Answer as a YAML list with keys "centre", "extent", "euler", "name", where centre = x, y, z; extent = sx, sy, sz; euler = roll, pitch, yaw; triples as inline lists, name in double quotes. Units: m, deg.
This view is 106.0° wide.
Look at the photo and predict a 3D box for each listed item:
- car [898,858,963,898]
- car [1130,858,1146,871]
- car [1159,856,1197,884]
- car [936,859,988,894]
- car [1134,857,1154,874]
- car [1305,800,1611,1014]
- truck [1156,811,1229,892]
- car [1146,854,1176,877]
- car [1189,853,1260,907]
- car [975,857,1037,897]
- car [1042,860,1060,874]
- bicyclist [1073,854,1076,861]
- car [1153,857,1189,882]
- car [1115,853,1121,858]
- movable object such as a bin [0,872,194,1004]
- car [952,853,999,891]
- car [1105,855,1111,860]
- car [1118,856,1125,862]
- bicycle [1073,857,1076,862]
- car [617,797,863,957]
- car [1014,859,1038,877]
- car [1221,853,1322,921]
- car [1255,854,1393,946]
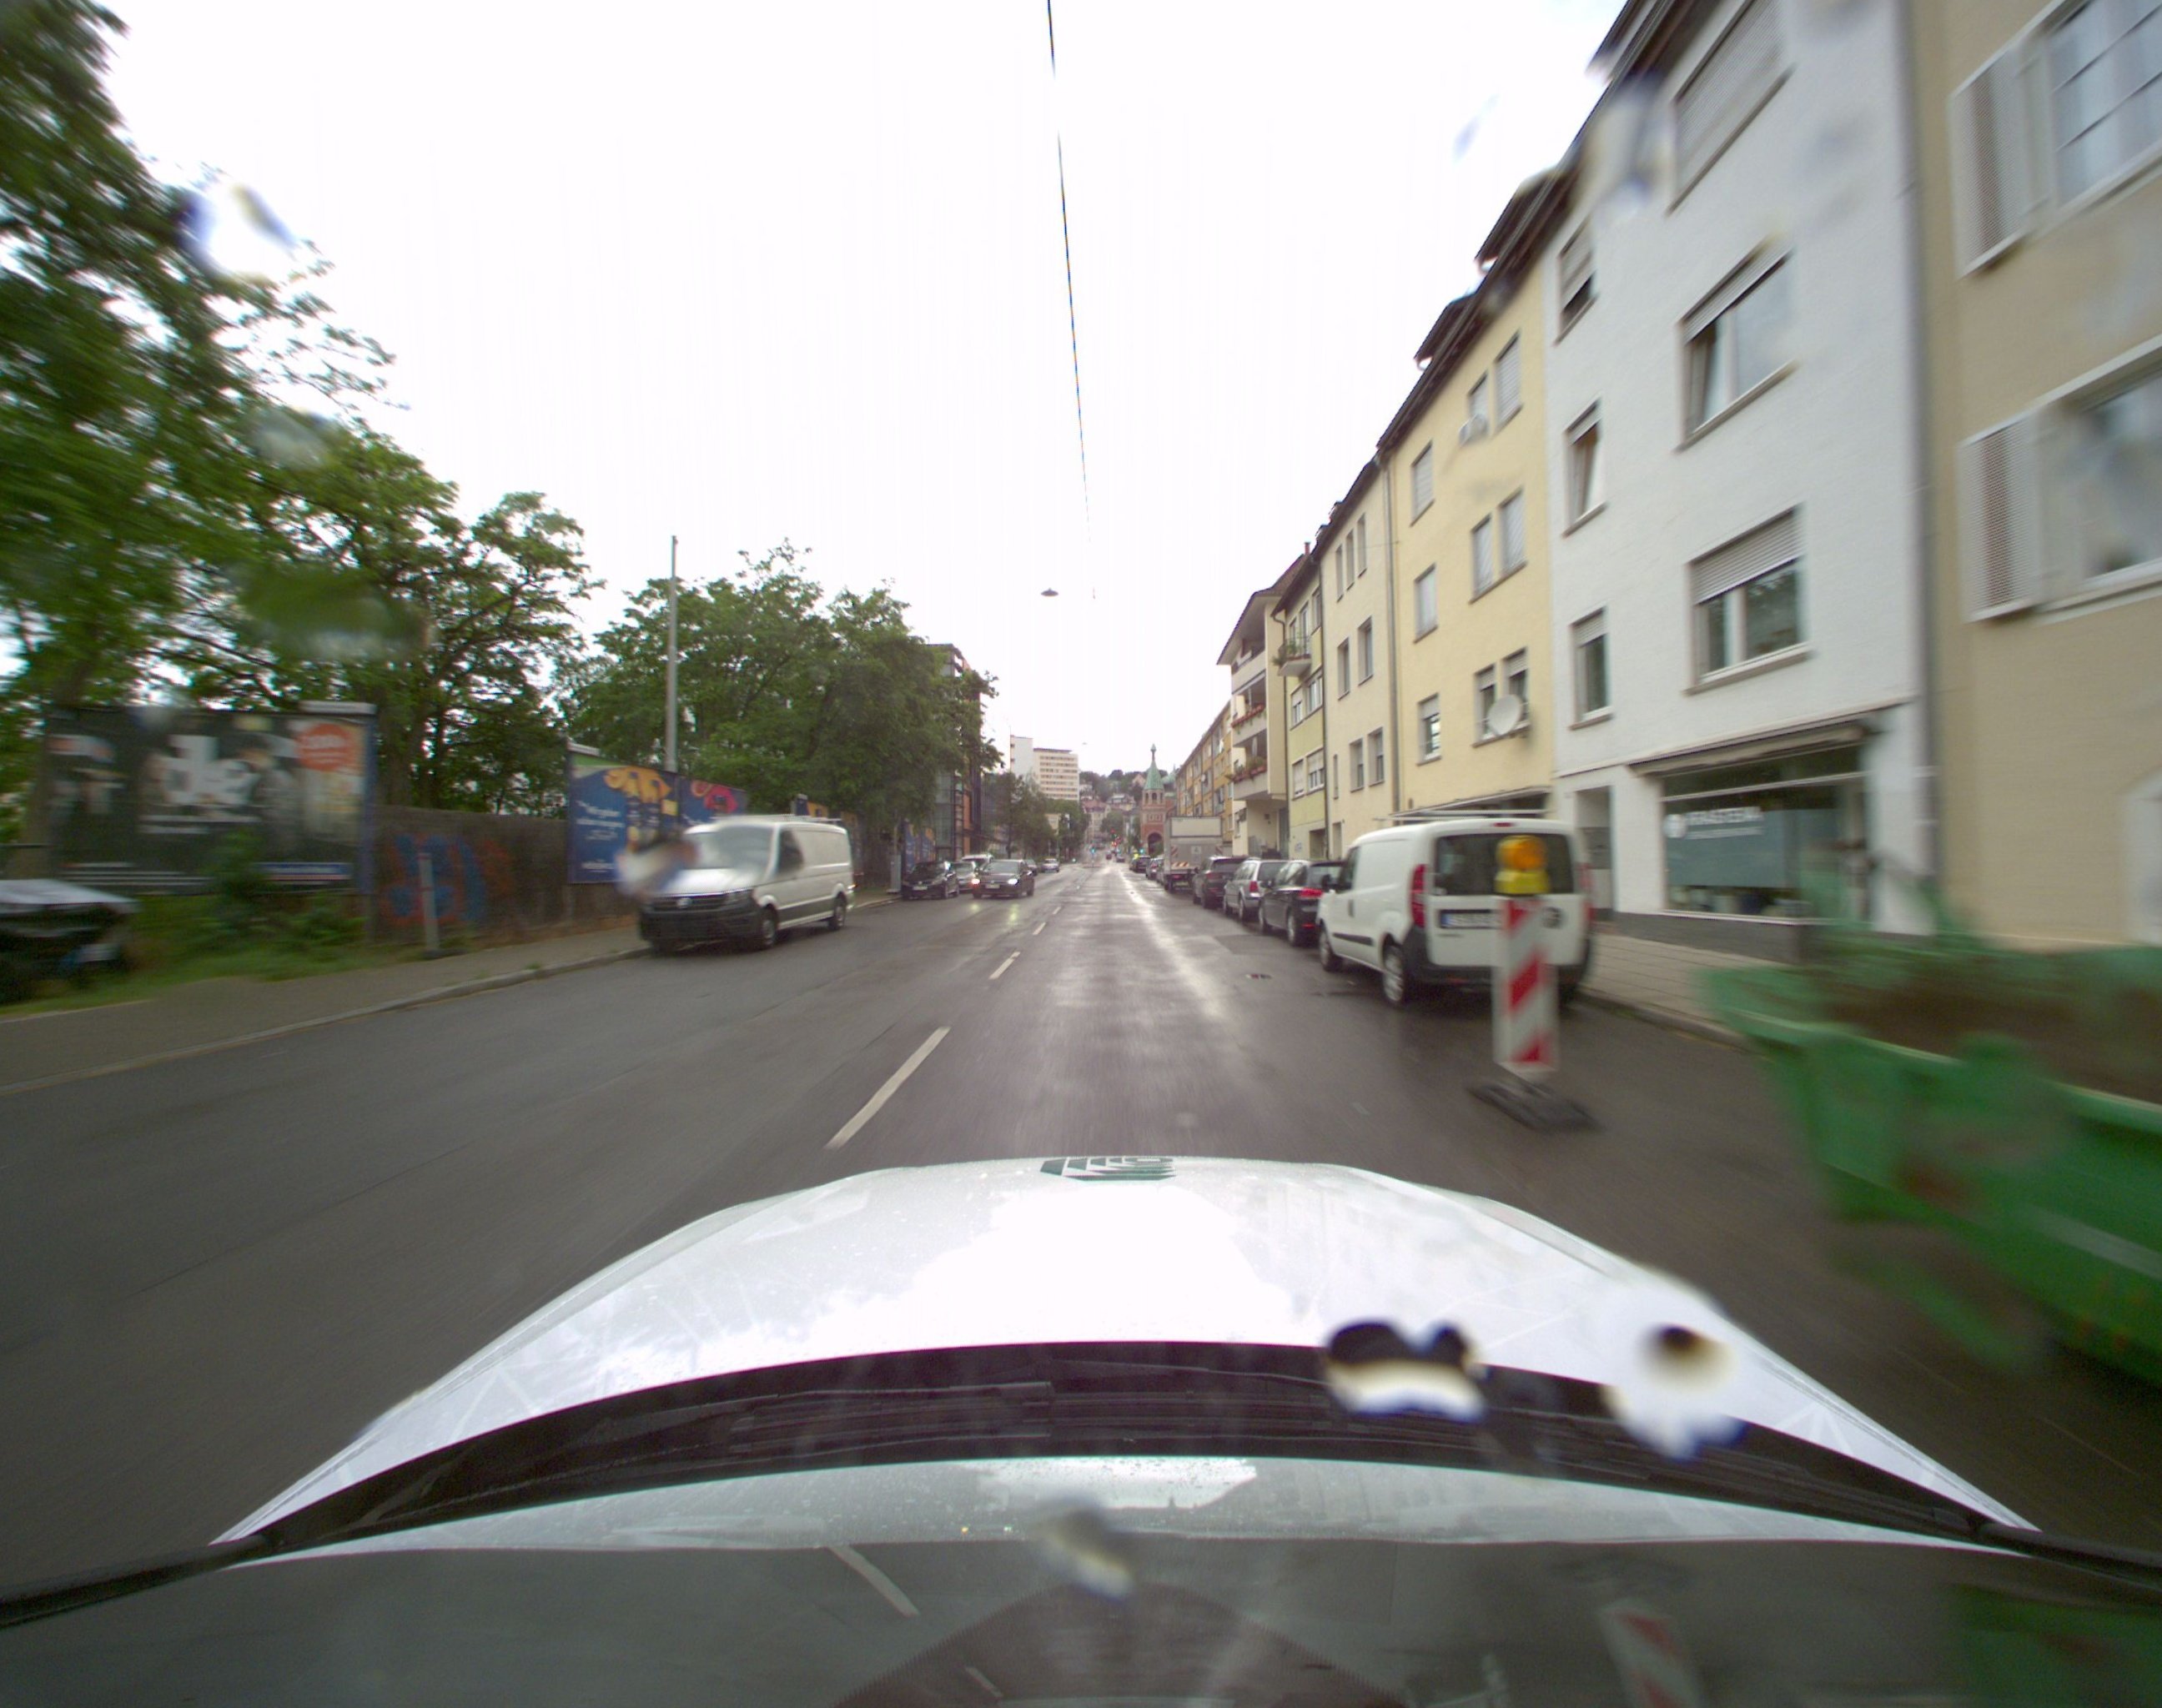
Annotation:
- centre: [-5.693, 0.884, 31.193]
  extent: [1.676, 1.398, 3.911]
  euler: [-2, -1, 1]
  name: "car"
- centre: [6.887, 1.287, 98.861]
  extent: [1.811, 1.522, 4.077]
  euler: [1, 0, 1]
  name: "car"
- centre: [5.168, 0.842, 43.791]
  extent: [1.657, 1.421, 4.044]
  euler: [-1, 0, 2]
  name: "car"
- centre: [-5.455, 1.002, 37.759]
  extent: [1.676, 1.462, 4.277]
  euler: [-2, -1, 1]
  name: "car"
- centre: [6.261, 1.122, 81.528]
  extent: [1.811, 1.652, 4.077]
  euler: [1, 0, 1]
  name: "car"
- centre: [3.982, 0.485, 9.478]
  extent: [1.810, 1.924, 4.243]
  euler: [0, 0, 3]
  name: "car"
- centre: [4.753, -0.074, 35.831]
  extent: [2.460, 3.172, 7.039]
  euler: [-1, 0, 2]
  name: "truck"
- centre: [5.451, 0.796, 55.914]
  extent: [1.658, 1.502, 3.921]
  euler: [-1, -1, 0]
  name: "car"
- centre: [4.512, 0.770, 26.062]
  extent: [1.657, 1.573, 4.099]
  euler: [-1, 0, 2]
  name: "car"
- centre: [-2.836, 0.858, 31.747]
  extent: [1.798, 1.416, 4.387]
  euler: [-1, 0, 3]
  name: "car"
- centre: [-3.209, 1.363, 87.141]
  extent: [1.704, 1.450, 4.294]
  euler: [-1, -1, 1]
  name: "car"
- centre: [-1.697, 0.940, 205.531]
  extent: [0.675, 1.661, 0.650]
  euler: [-1, -1, -1]
  name: "bicyclist"
- centre: [5.368, 0.938, 48.934]
  extent: [1.659, 1.421, 3.918]
  euler: [-1, -1, -1]
  name: "car"
- centre: [11.521, 0.508, 252.954]
  extent: [1.885, 1.510, 4.001]
  euler: [1, 0, 1]
  name: "car"
- centre: [-12.918, 0.983, 9.682]
  extent: [2.696, 1.424, 1.669]
  euler: [-2, 0, -12]
  name: "movable object such as a bin"
- centre: [-5.444, 0.915, 42.452]
  extent: [1.717, 1.800, 4.345]
  euler: [-2, -1, 1]
  name: "car"
- centre: [8.218, 1.054, 251.544]
  extent: [1.901, 1.510, 4.001]
  euler: [0, 0, 1]
  name: "car"
- centre: [10.705, 1.263, 216.231]
  extent: [1.724, 1.653, 4.005]
  euler: [-1, 0, 5]
  name: "car"
- centre: [-1.692, 1.416, 205.570]
  extent: [0.675, 1.107, 1.799]
  euler: [-1, -1, -1]
  name: "bicycle"
- centre: [-6.230, 0.358, 15.957]
  extent: [2.004, 2.487, 5.987]
  euler: [-2, 0, 2]
  name: "car"
- centre: [-4.823, 1.223, 72.075]
  extent: [1.797, 1.450, 4.656]
  euler: [-1, -1, 0]
  name: "car"
- centre: [4.583, 0.738, 20.177]
  extent: [1.657, 1.500, 4.099]
  euler: [-1, 0, 2]
  name: "car"
- centre: [4.302, 0.750, 14.926]
  extent: [1.571, 1.470, 3.503]
  euler: [-1, 0, 1]
  name: "car"
